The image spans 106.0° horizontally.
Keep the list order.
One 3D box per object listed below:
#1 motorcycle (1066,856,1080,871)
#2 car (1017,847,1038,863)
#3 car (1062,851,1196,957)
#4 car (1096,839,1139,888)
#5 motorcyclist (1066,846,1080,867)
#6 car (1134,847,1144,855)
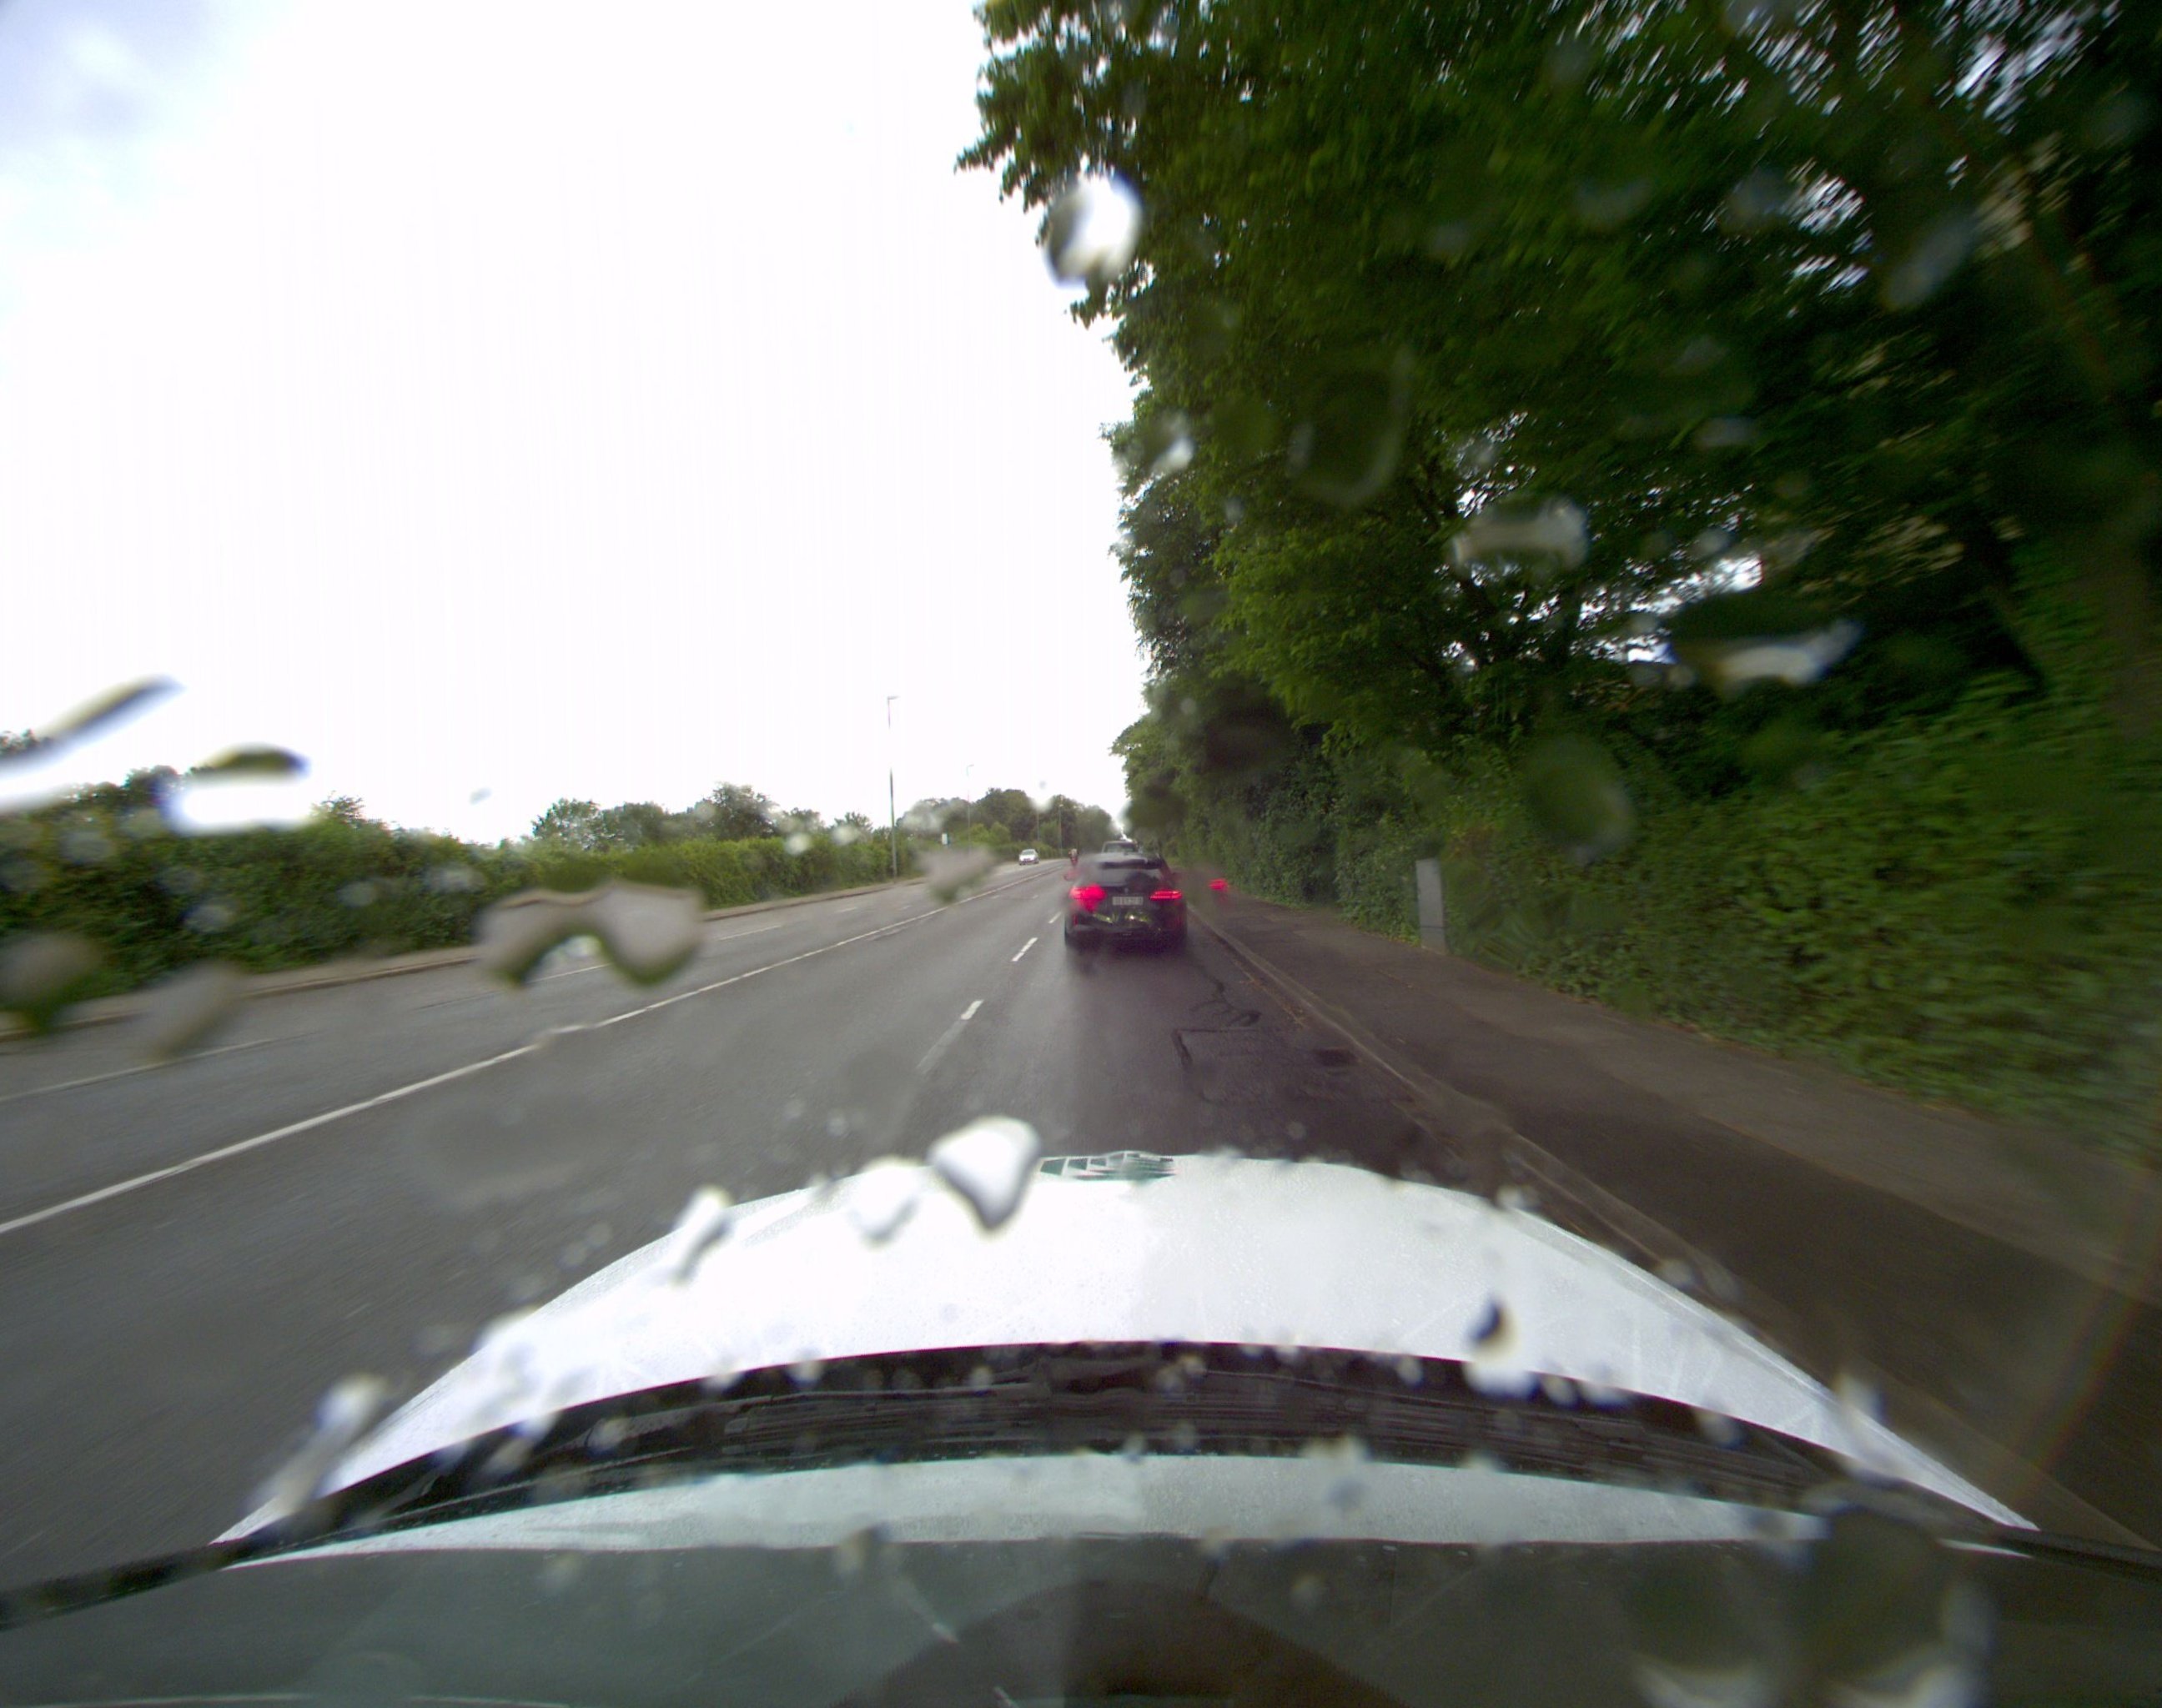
[{"bbox_3d":[-0.578,0.689,60.987,0.872,1.124,2.743,0,-1,3],"label":"motorcycle"},{"bbox_3d":[-5.671,0.076,86.235,1.750,1.568,4.001,-3,0,1],"label":"car"},{"bbox_3d":[0.815,0.711,13.506,1.889,1.489,4.004,0,0,4],"label":"car"},{"bbox_3d":[1.540,0.375,34.058,1.622,1.833,4.003,-3,0,3],"label":"car"},{"bbox_3d":[-0.586,0.177,61.041,1.035,1.567,0.855,0,-1,2],"label":"motorcyclist"},{"bbox_3d":[11.888,-0.584,165.959,1.926,1.442,4.414,-2,0,5],"label":"car"}]
